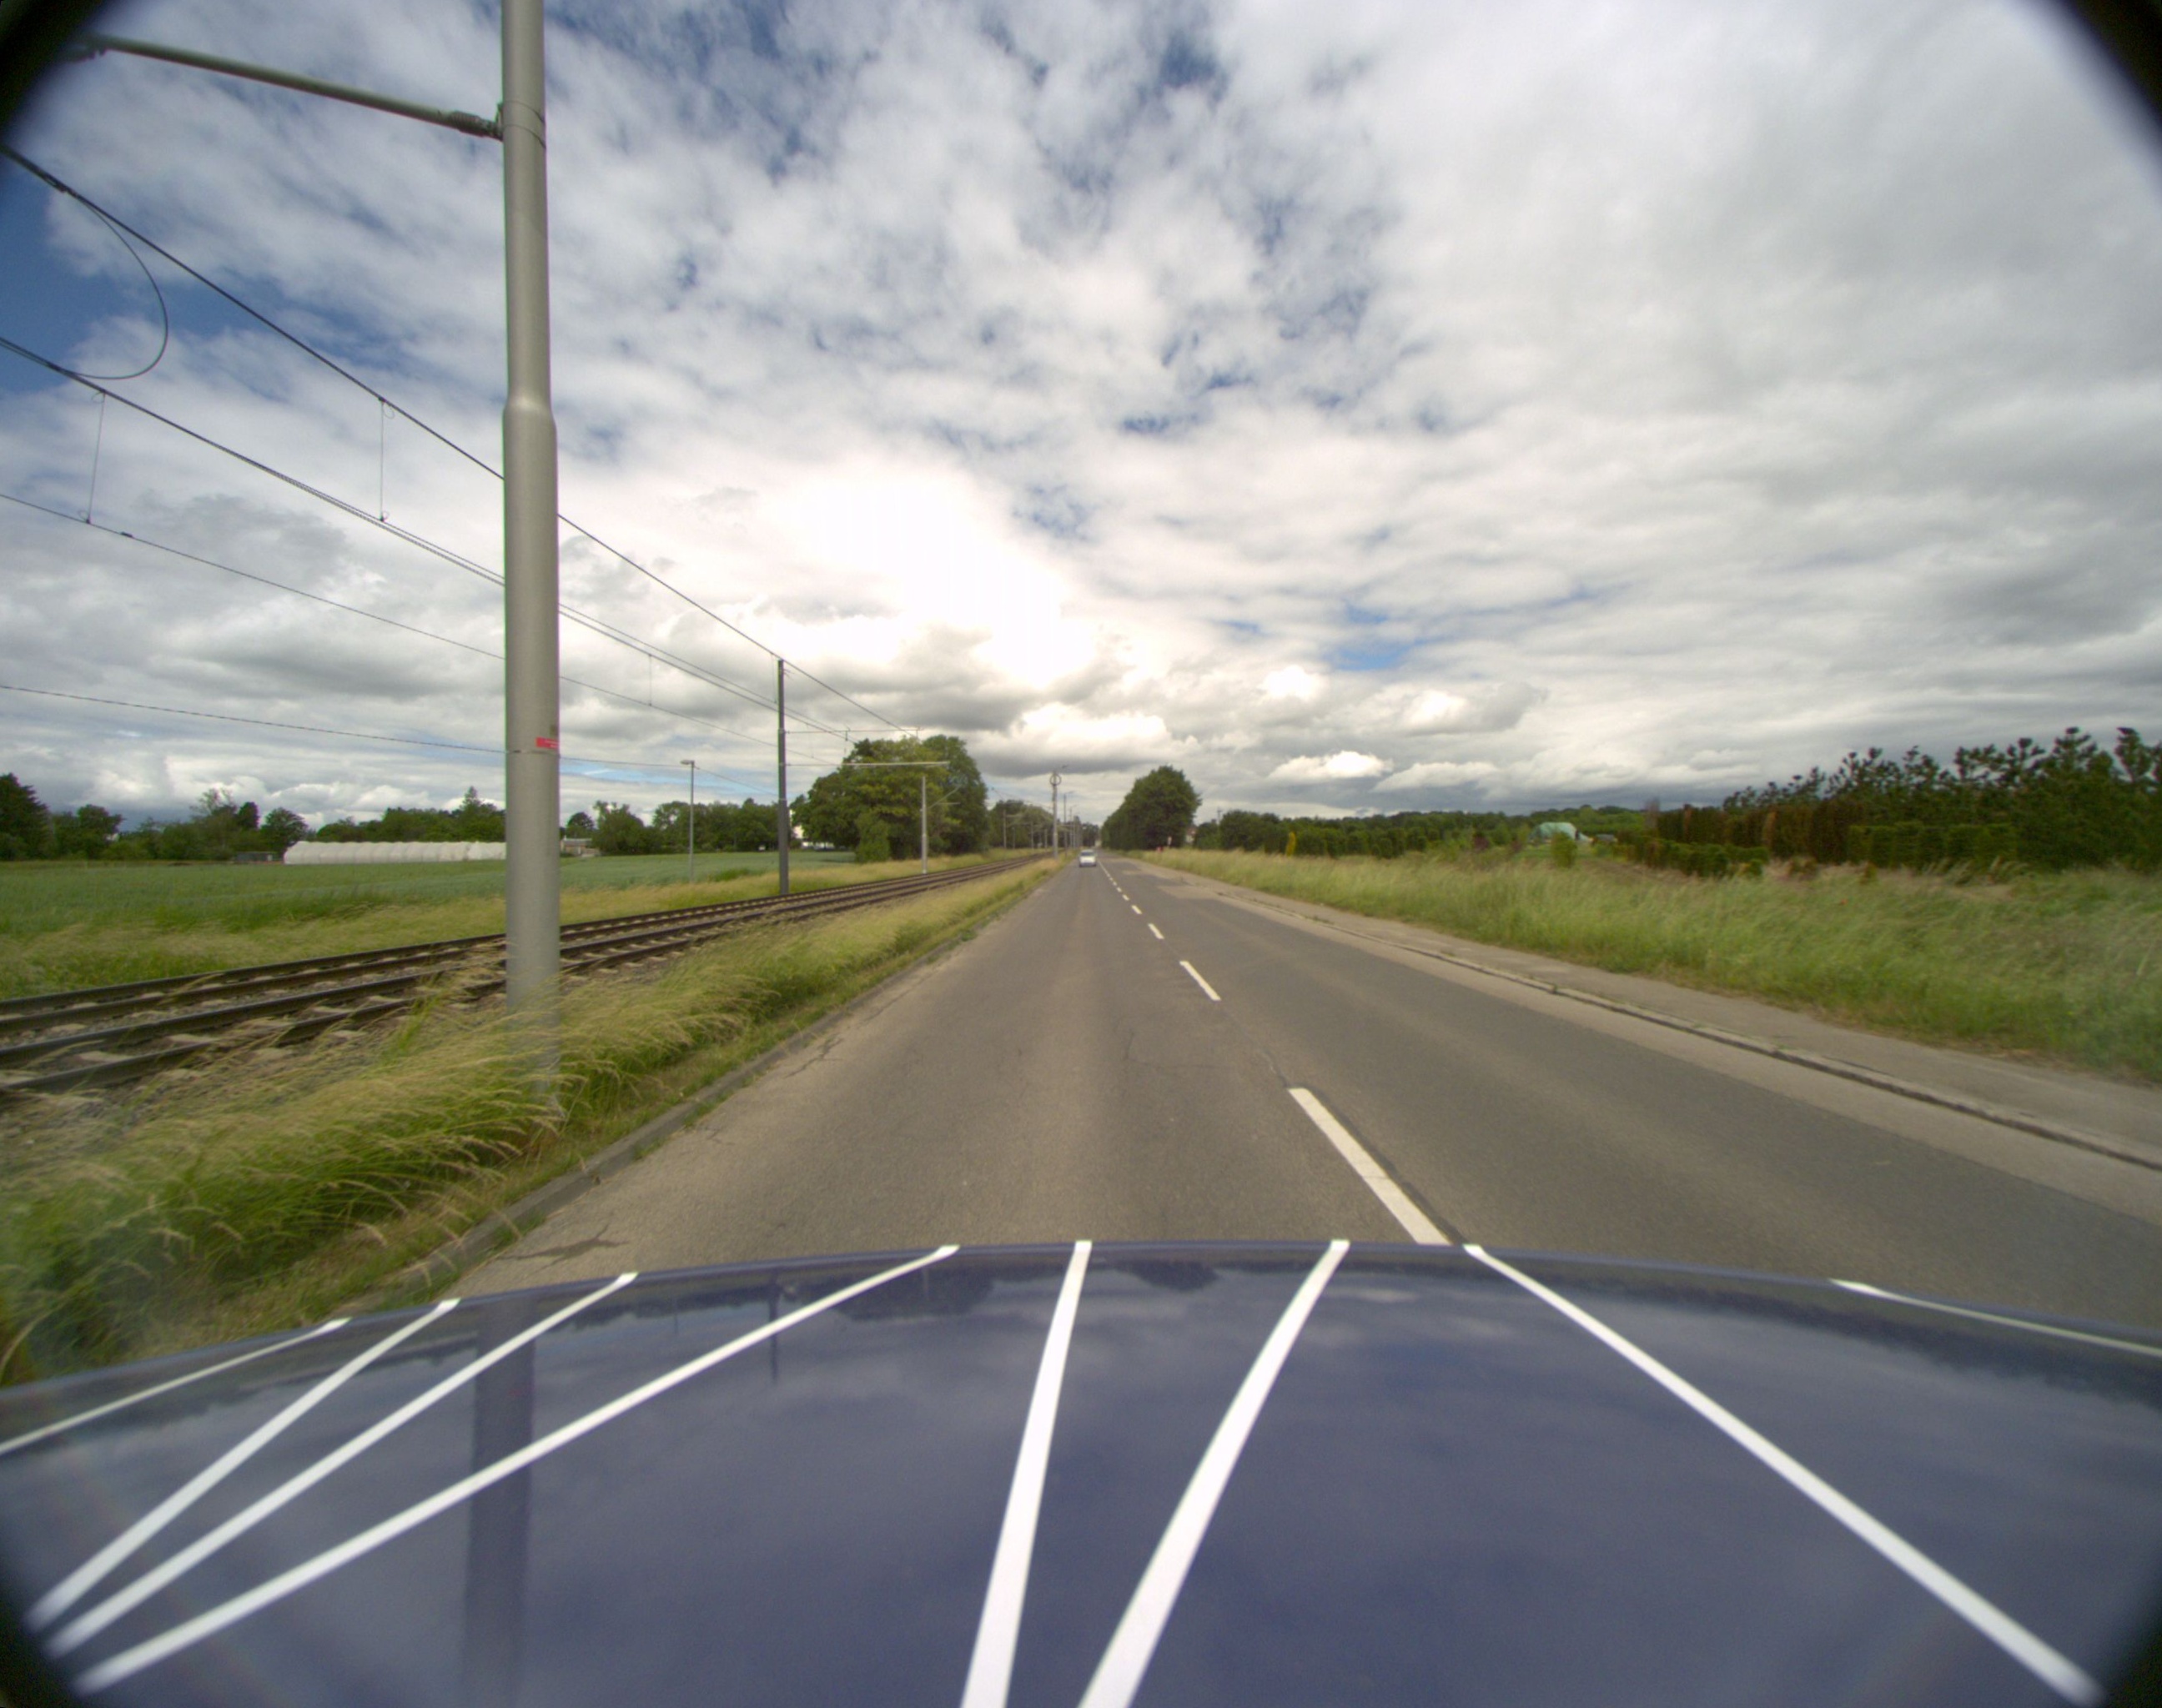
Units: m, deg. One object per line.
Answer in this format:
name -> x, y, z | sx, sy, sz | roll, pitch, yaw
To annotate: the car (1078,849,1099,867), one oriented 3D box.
car -> 0.740, 0.348, 75.658 | 1.999, 1.679, 3.999 | -1, 0, 0
